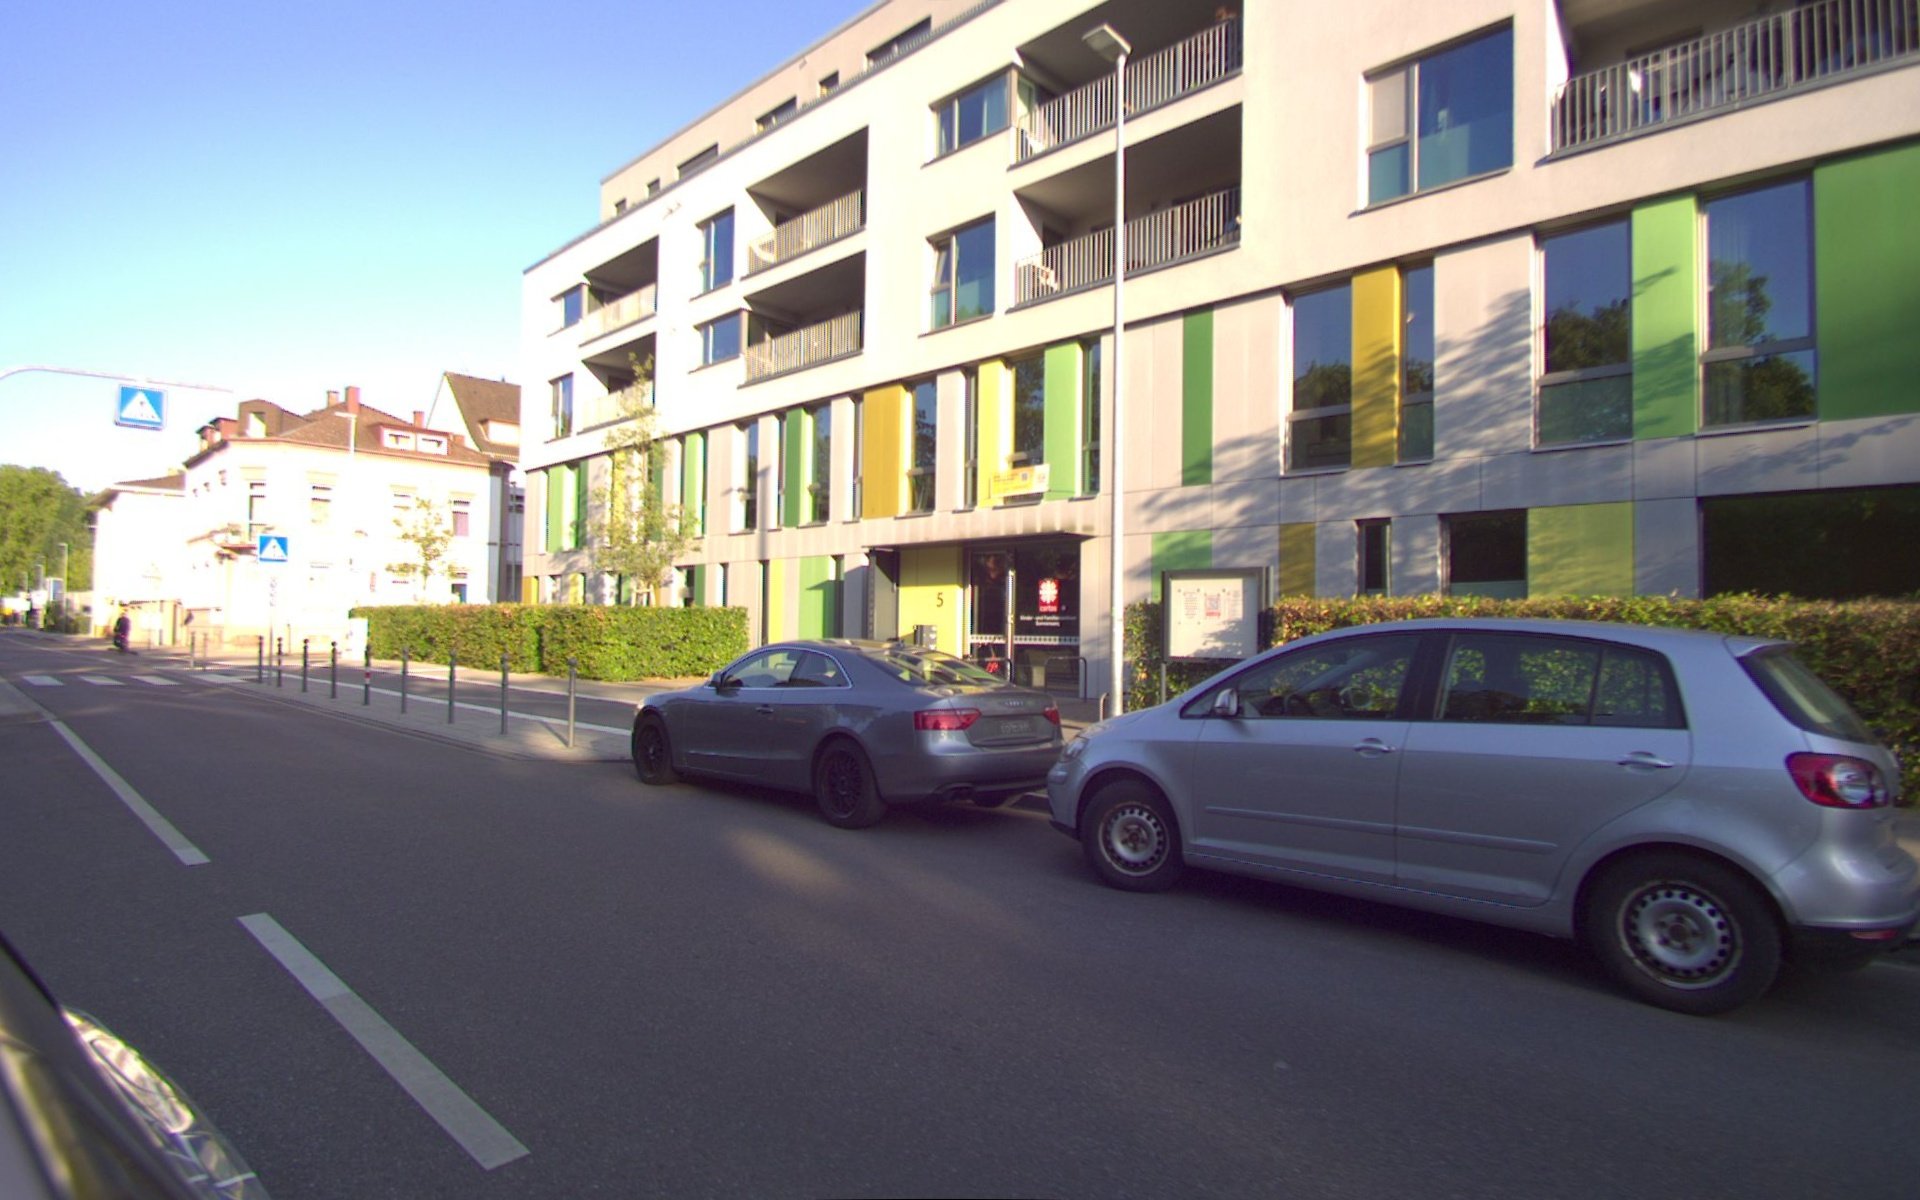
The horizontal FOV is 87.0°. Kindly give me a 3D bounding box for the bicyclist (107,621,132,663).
[{"bbox_3d":[-33.669,1.664,40.532,0.758,1.657,0.619,-2,-3,43],"label":"bicyclist"}]

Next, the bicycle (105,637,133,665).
[{"bbox_3d":[-33.703,2.035,40.544,1.883,1.086,0.626,-1,-3,43],"label":"bicycle"}]

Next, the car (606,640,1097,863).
[{"bbox_3d":[-1.133,1.054,8.591,4.397,1.367,1.722,-1,-3,44],"label":"car"}]

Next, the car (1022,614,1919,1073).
[{"bbox_3d":[2.470,0.886,5.303,4.114,1.545,1.723,-1,-3,42],"label":"car"}]

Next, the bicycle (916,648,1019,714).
[{"bbox_3d":[0.143,1.235,15.779,0.617,0.925,1.732,-1,-1,42],"label":"bicycle"}]
